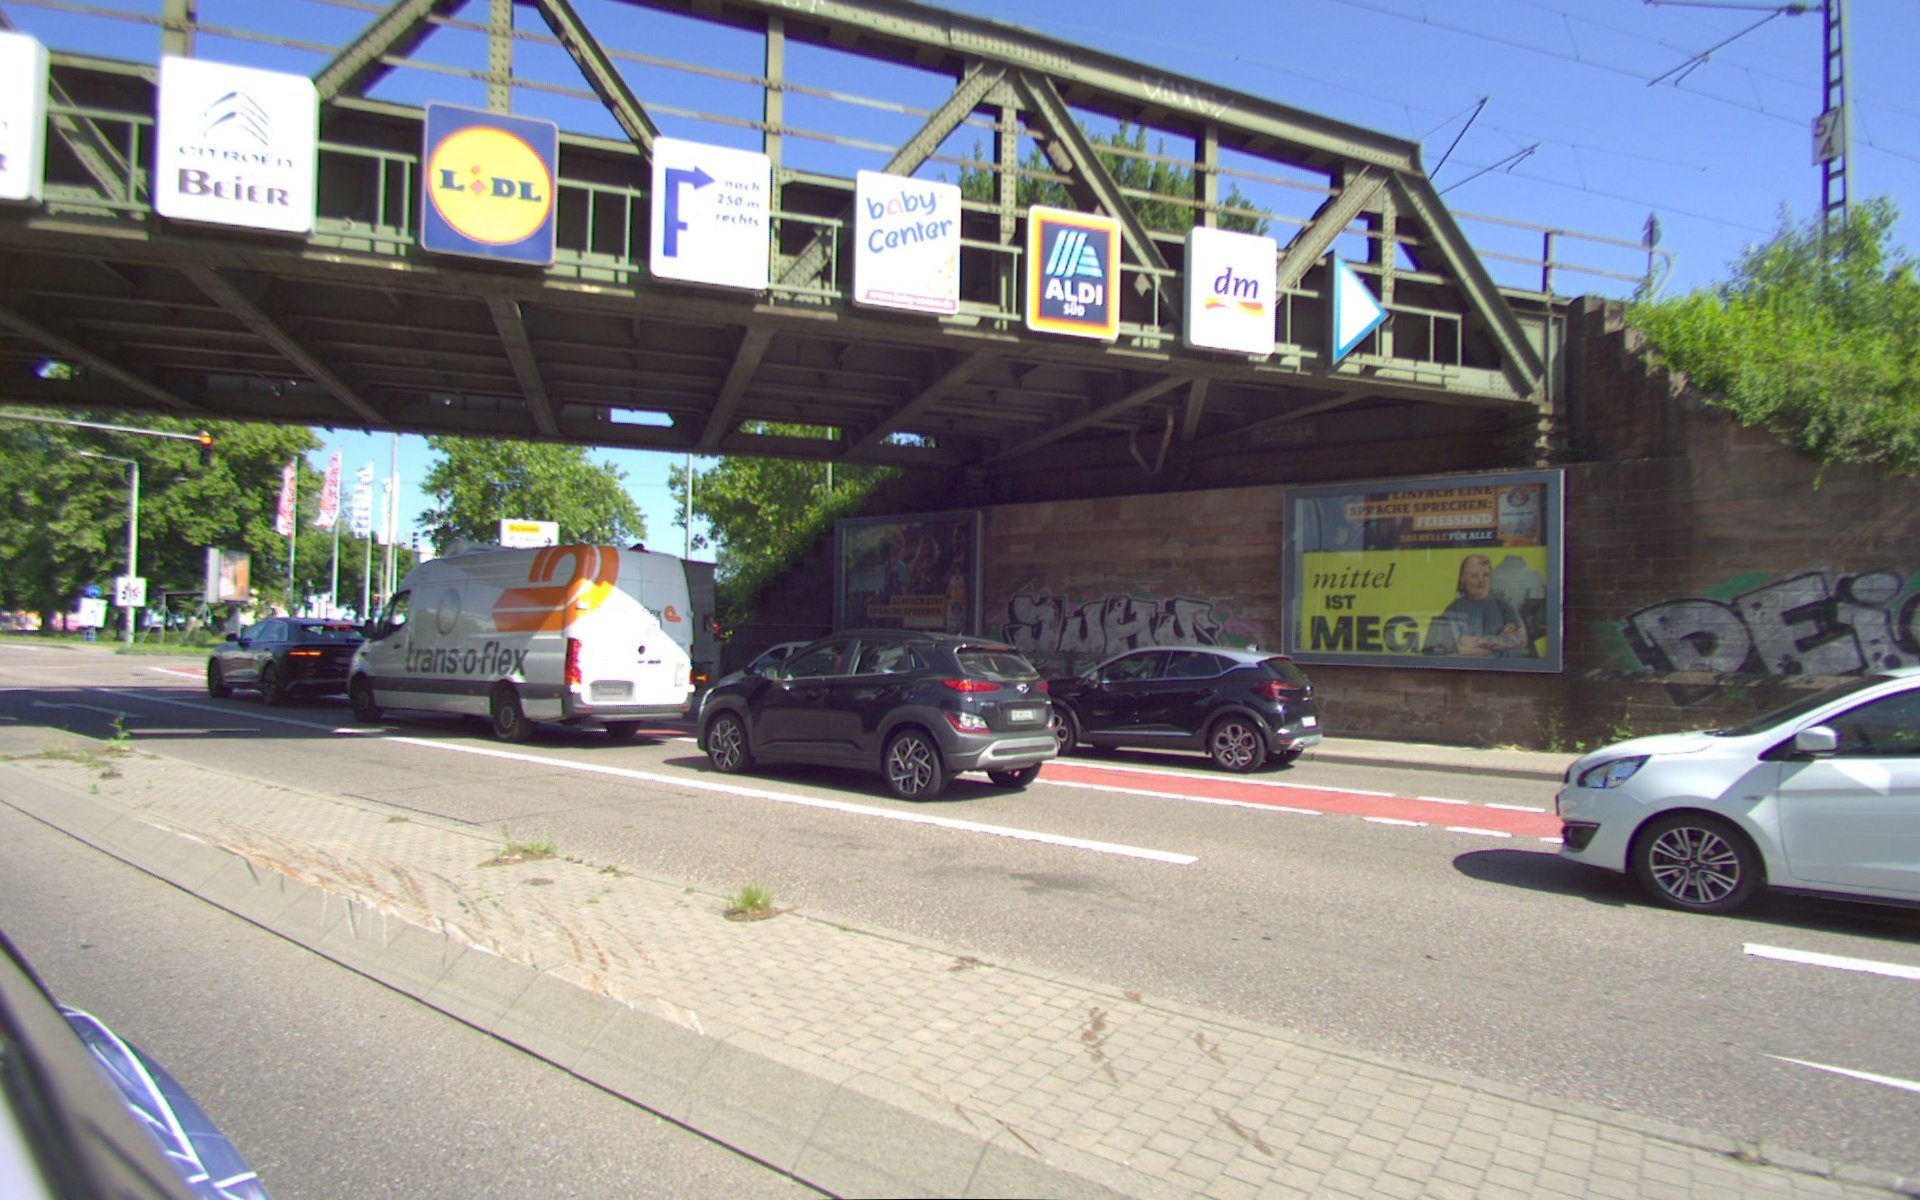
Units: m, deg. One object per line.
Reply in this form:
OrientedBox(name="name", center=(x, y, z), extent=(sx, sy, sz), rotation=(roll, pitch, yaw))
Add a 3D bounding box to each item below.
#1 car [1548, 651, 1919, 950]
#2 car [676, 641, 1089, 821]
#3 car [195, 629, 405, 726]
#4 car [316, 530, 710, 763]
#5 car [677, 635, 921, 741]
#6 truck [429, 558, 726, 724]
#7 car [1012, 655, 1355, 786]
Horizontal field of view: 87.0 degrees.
OrientedBox(name="car", center=(5.573, 1.056, 5.623), extent=(3.821, 1.506, 1.628), rotation=(-2, -5, 36))
OrientedBox(name="car", center=(-0.908, 1.225, 10.490), extent=(4.170, 1.506, 1.752), rotation=(-2, -5, 37))
OrientedBox(name="car", center=(-13.183, 1.440, 20.105), extent=(4.943, 1.694, 1.974), rotation=(-1, -3, 38))
OrientedBox(name="car", center=(-6.886, 0.667, 15.100), extent=(6.922, 2.826, 1.976), rotation=(-1, -5, 35))
OrientedBox(name="car", center=(-2.985, 1.548, 18.395), extent=(4.280, 1.703, 1.965), rotation=(-2, -5, 37))
OrientedBox(name="truck", center=(-8.431, 0.843, 21.938), extent=(7.050, 3.112, 2.321), rotation=(-1, -3, 34))
OrientedBox(name="car", center=(2.912, 1.510, 13.621), extent=(4.170, 1.506, 1.752), rotation=(-2, -5, 37))
